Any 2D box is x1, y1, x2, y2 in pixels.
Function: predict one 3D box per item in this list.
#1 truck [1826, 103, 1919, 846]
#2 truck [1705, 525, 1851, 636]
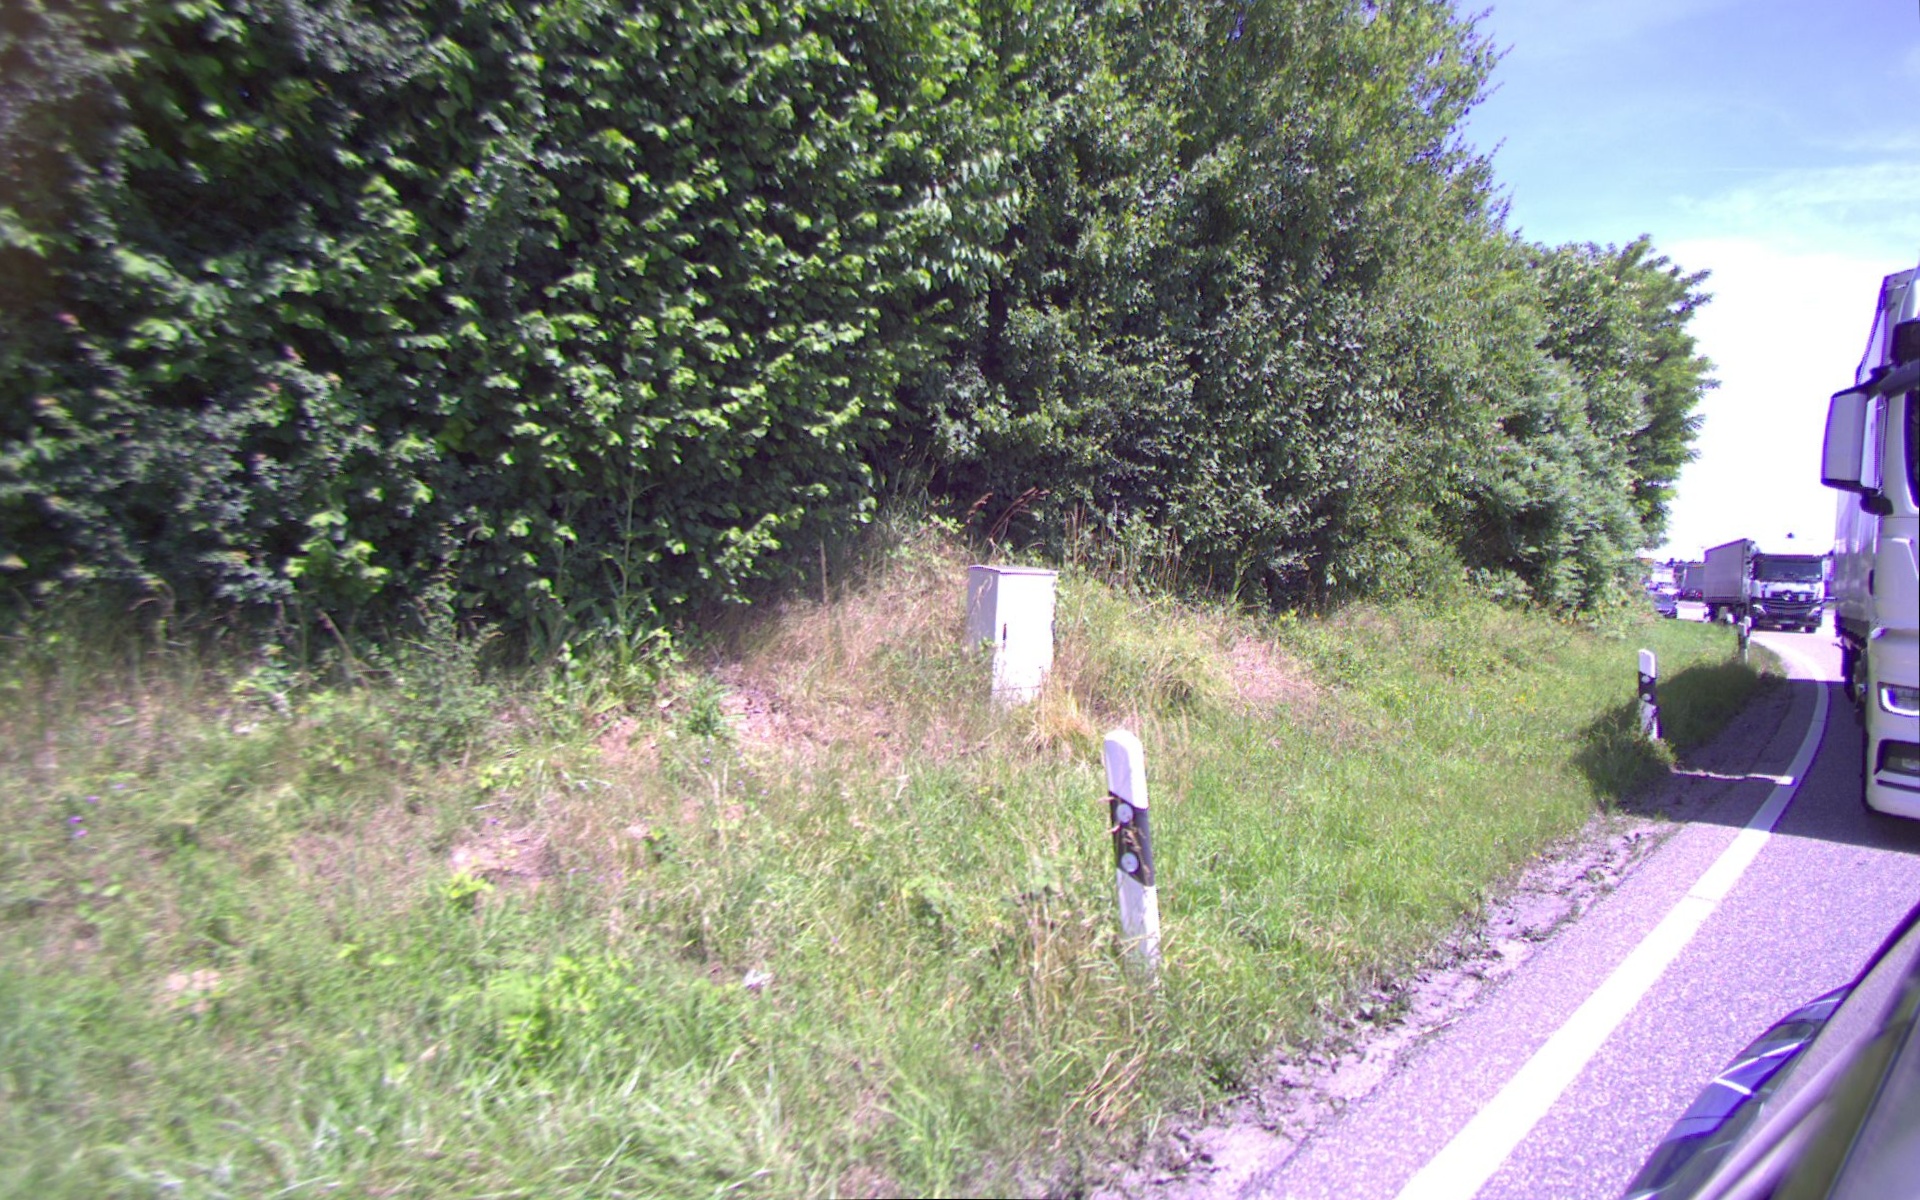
[{"bbox_3d":[11.962,-0.916,11.368,2.971,4.145,17.370,-1,1,42],"label":"truck"},{"bbox_3d":[39.116,-0.989,49.096,2.958,4.527,16.280,-1,1,30],"label":"truck"}]
